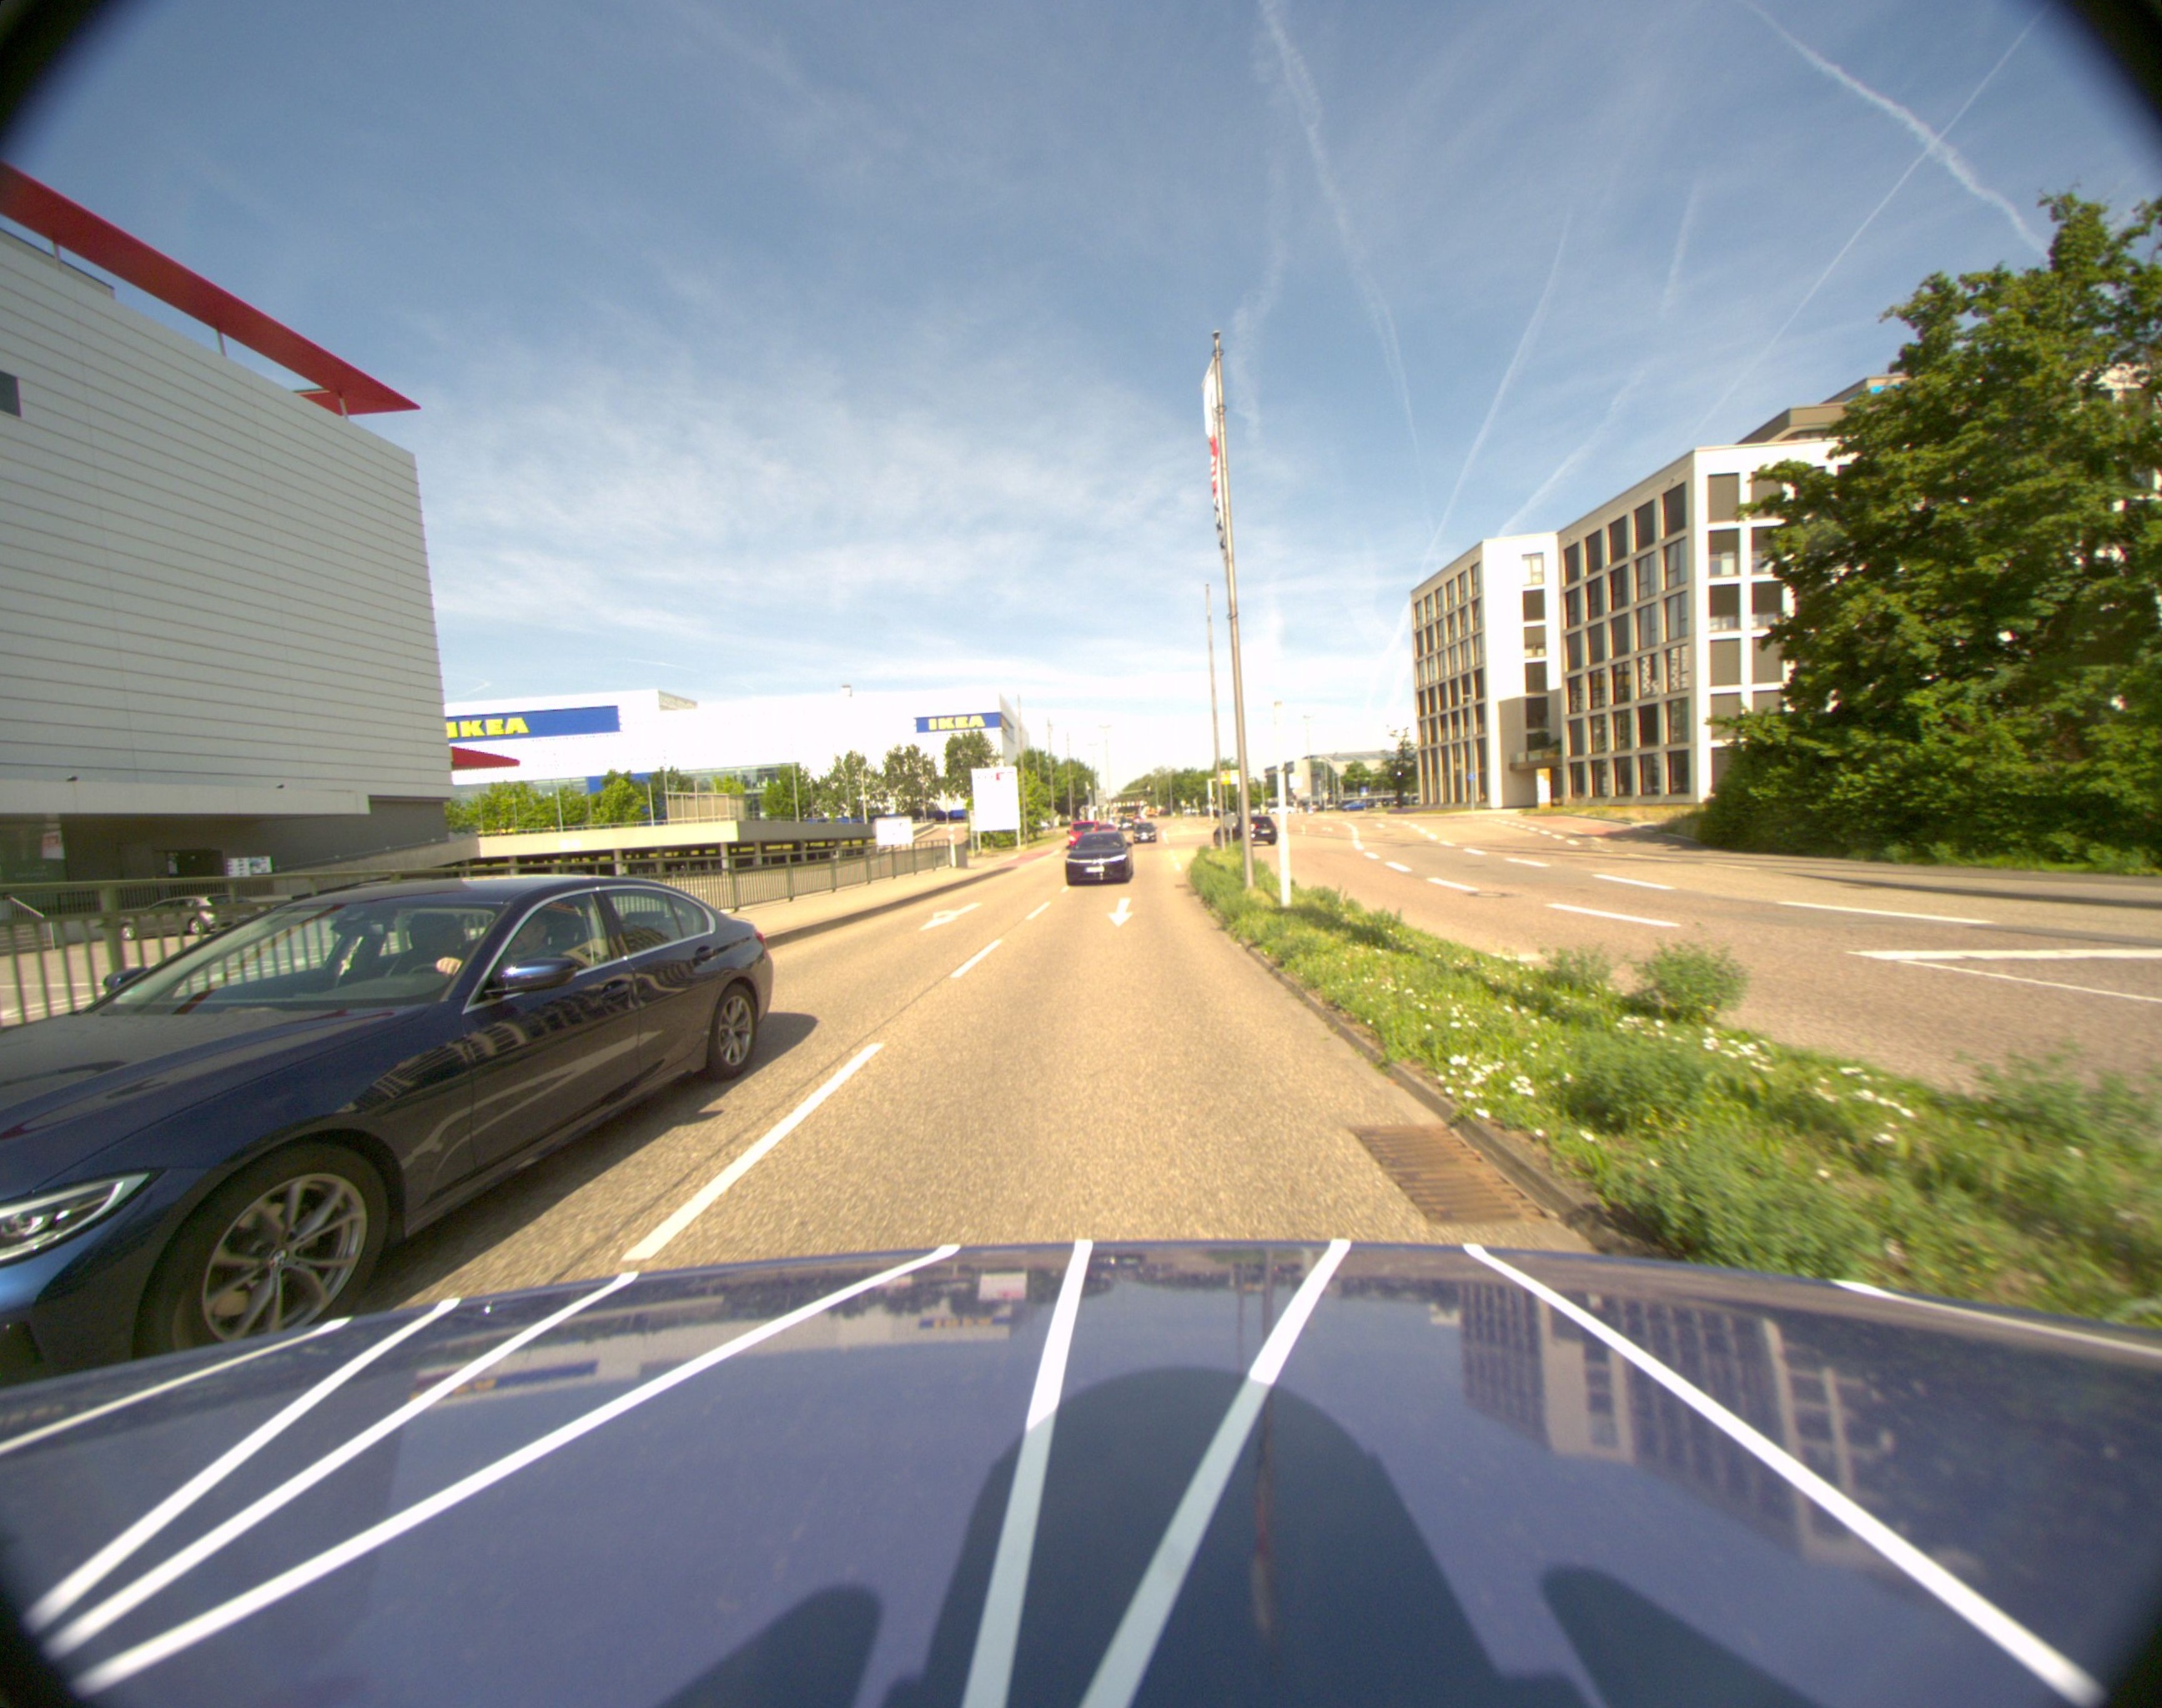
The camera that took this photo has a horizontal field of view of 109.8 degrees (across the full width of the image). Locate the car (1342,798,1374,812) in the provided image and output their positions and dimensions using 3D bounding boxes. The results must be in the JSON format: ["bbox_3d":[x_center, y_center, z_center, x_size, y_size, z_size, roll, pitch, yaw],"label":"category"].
[{"bbox_3d":[43.615,-7.684,119.548,4.390,1.838,1.812,-3,3,8],"label":"car"}]

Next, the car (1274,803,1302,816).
[{"bbox_3d":[34.010,-7.312,124.978,4.387,1.838,1.813,-2,3,16],"label":"car"}]

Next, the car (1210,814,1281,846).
[{"bbox_3d":[8.774,-1.287,40.870,1.864,1.521,4.136,-3,3,-19],"label":"car"}]

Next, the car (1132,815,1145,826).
[{"bbox_3d":[8.816,-5.184,117.394,1.825,1.466,3.999,-3,3,3],"label":"car"}]

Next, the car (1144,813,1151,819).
[{"bbox_3d":[19.756,-11.305,224.807,1.866,1.617,3.999,-3,3,5],"label":"car"}]

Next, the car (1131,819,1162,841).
[{"bbox_3d":[4.819,-1.773,55.709,1.848,1.411,4.000,-2,4,11],"label":"car"}]

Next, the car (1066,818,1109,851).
[{"bbox_3d":[0.467,-1.349,50.541,1.986,1.897,4.145,-3,3,11],"label":"car"}]

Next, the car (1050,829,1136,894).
[{"bbox_3d":[0.454,0.134,22.260,1.860,1.521,4.144,-3,3,9],"label":"car"}]

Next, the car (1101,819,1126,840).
[{"bbox_3d":[2.993,-2.244,68.347,1.776,1.649,4.144,-4,3,8],"label":"car"}]

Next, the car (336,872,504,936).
[{"bbox_3d":[-22.250,1.673,25.634,4.410,1.723,1.863,-3,3,12],"label":"car"}]

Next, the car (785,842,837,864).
[{"bbox_3d":[-26.466,-0.112,74.534,4.316,1.823,1.999,-3,1,-3],"label":"car"}]

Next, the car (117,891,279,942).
[{"bbox_3d":[-32.717,2.296,28.219,3.866,1.368,1.811,-5,2,2],"label":"car"}]

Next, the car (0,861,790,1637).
[{"bbox_3d":[-3.274,0.958,3.613,1.791,1.475,4.518,-3,3,2],"label":"car"}]

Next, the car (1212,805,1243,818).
[{"bbox_3d":[23.401,-6.729,121.287,4.385,1.838,1.814,-2,3,27],"label":"car"}]

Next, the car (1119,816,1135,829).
[{"bbox_3d":[5.604,-3.858,92.788,1.825,1.466,3.999,-3,3,3],"label":"car"}]
